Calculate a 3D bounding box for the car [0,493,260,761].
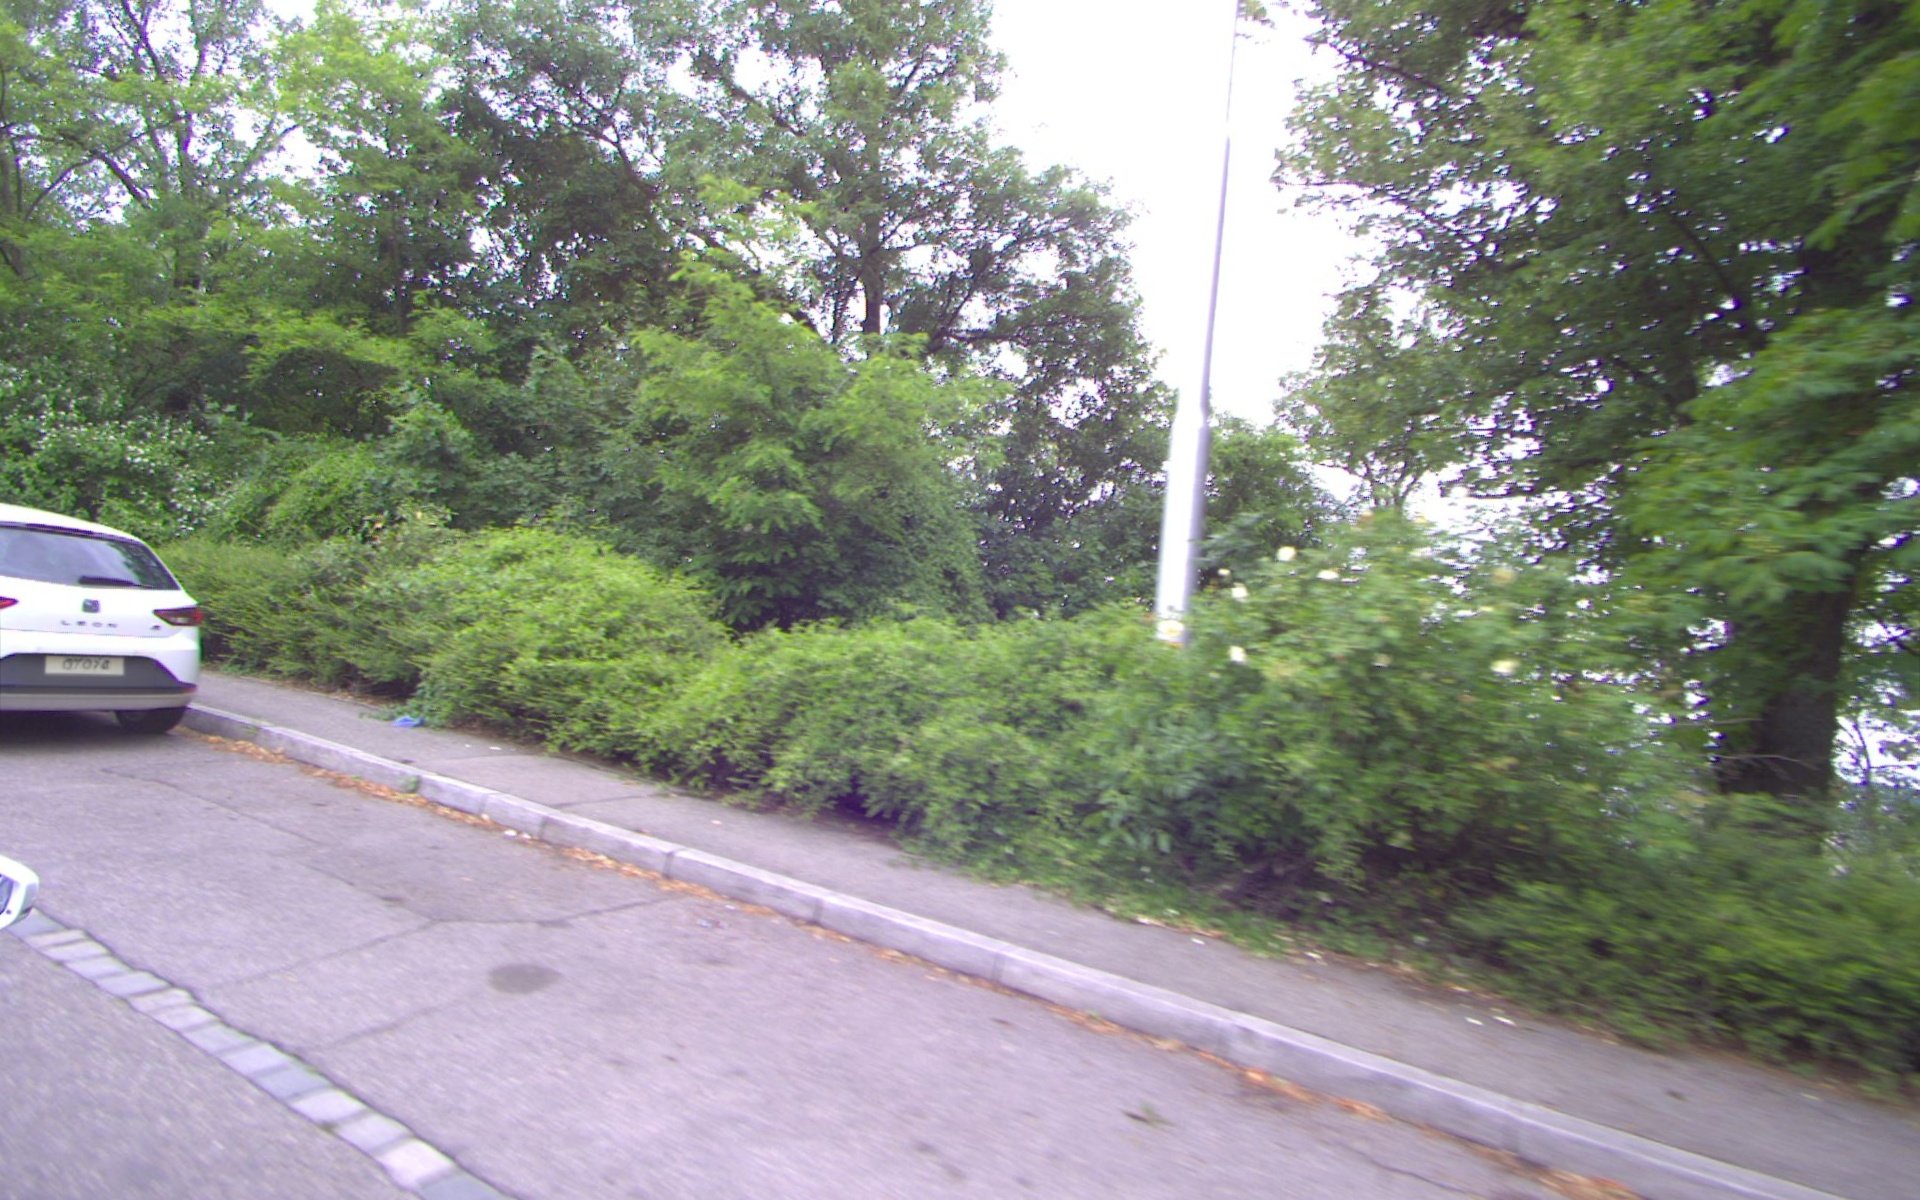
[{"bbox_3d":[-7.280,-0.077,6.987,4.617,1.499,1.740,8,-3,25],"label":"car"}]
